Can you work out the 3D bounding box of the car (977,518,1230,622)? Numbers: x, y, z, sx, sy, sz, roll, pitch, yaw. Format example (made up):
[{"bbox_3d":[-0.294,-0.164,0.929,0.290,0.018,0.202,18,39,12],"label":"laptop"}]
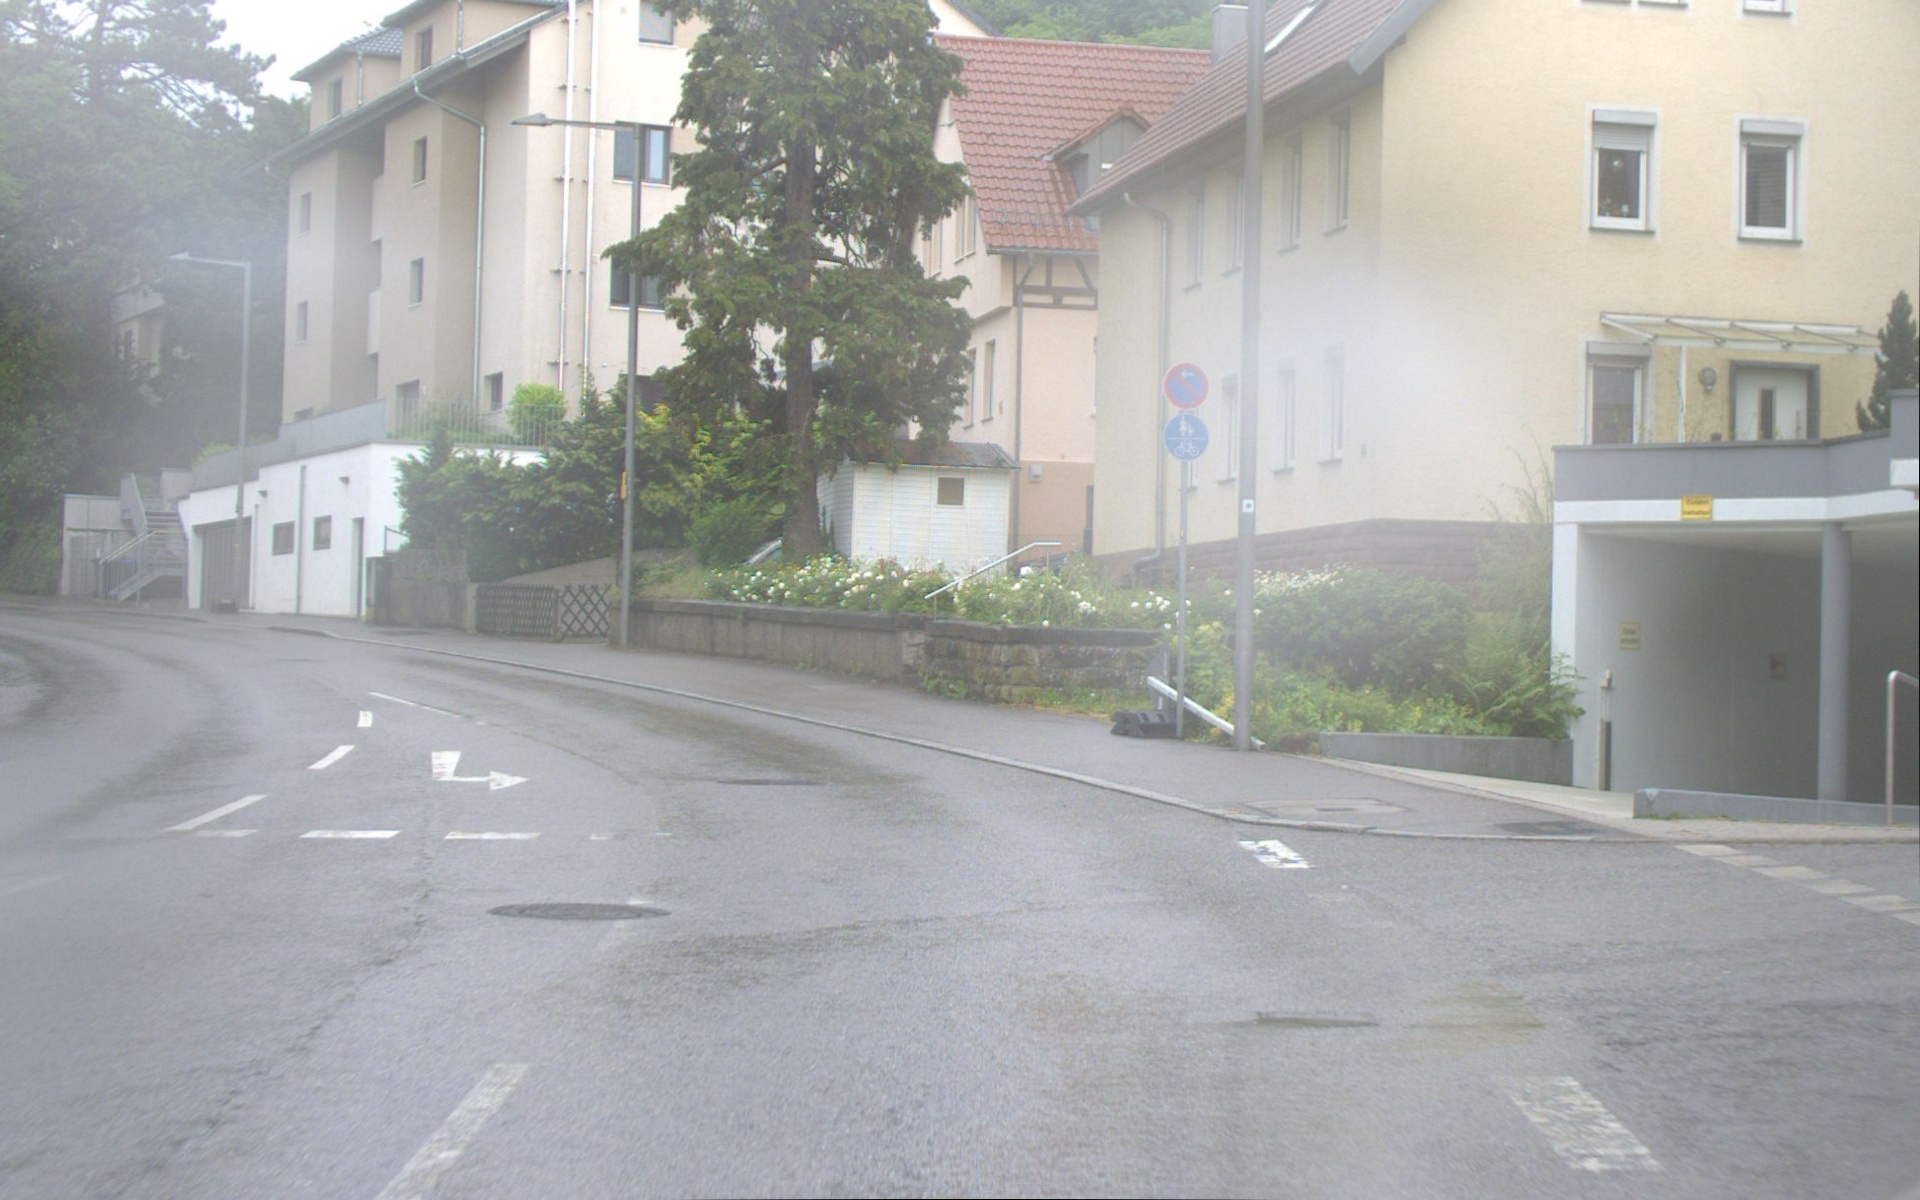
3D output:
[{"bbox_3d":[2.421,-0.523,58.451,3.851,1.647,1.964,-1,1,-14],"label":"car"}]
